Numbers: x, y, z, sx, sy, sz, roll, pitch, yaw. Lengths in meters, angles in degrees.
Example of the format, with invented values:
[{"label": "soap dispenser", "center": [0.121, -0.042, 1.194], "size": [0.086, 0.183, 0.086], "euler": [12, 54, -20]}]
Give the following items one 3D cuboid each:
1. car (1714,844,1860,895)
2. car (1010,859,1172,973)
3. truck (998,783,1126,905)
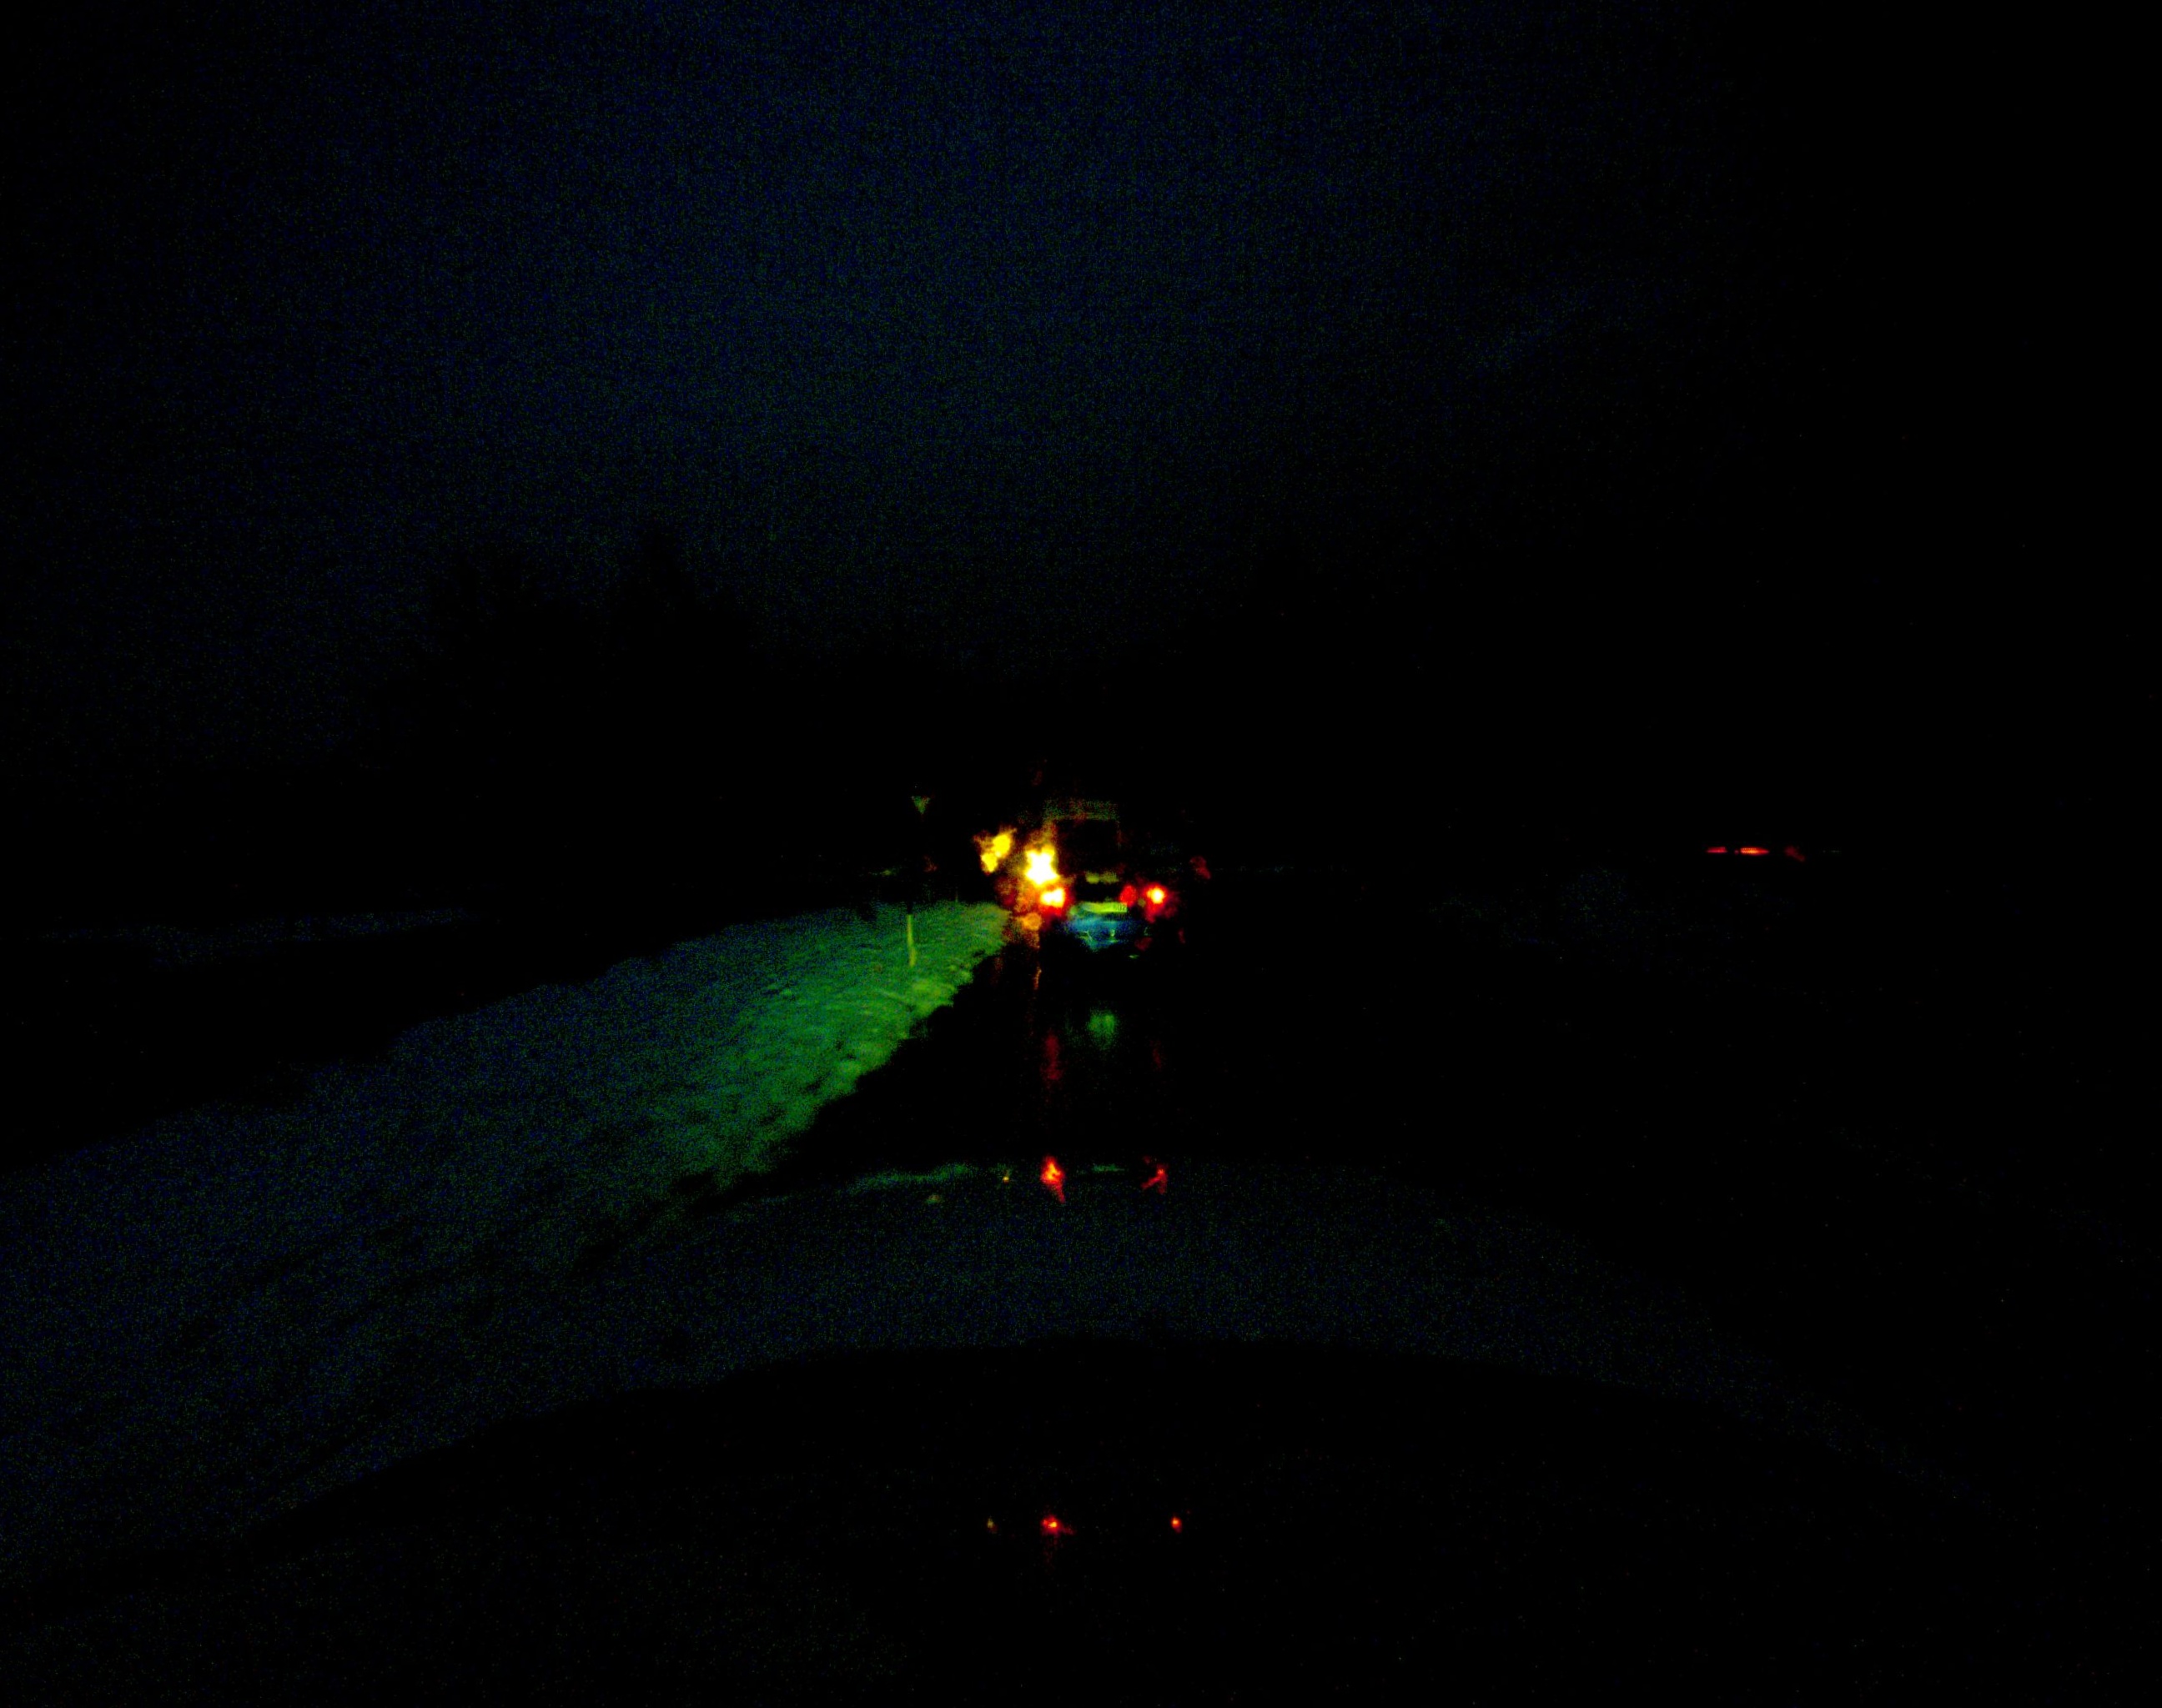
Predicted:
[{"label": "car", "center": [28.306, 0.623, 32.694], "size": [5.004, 1.945, 1.679], "euler": [0, -1, -11]}, {"label": "car", "center": [0.150, 0.752, 11.667], "size": [1.915, 1.276, 4.001], "euler": [0, 1, 1]}, {"label": "truck", "center": [-0.661, -0.198, 21.161], "size": [2.080, 2.746, 5.290], "euler": [0, -1, -16]}]
